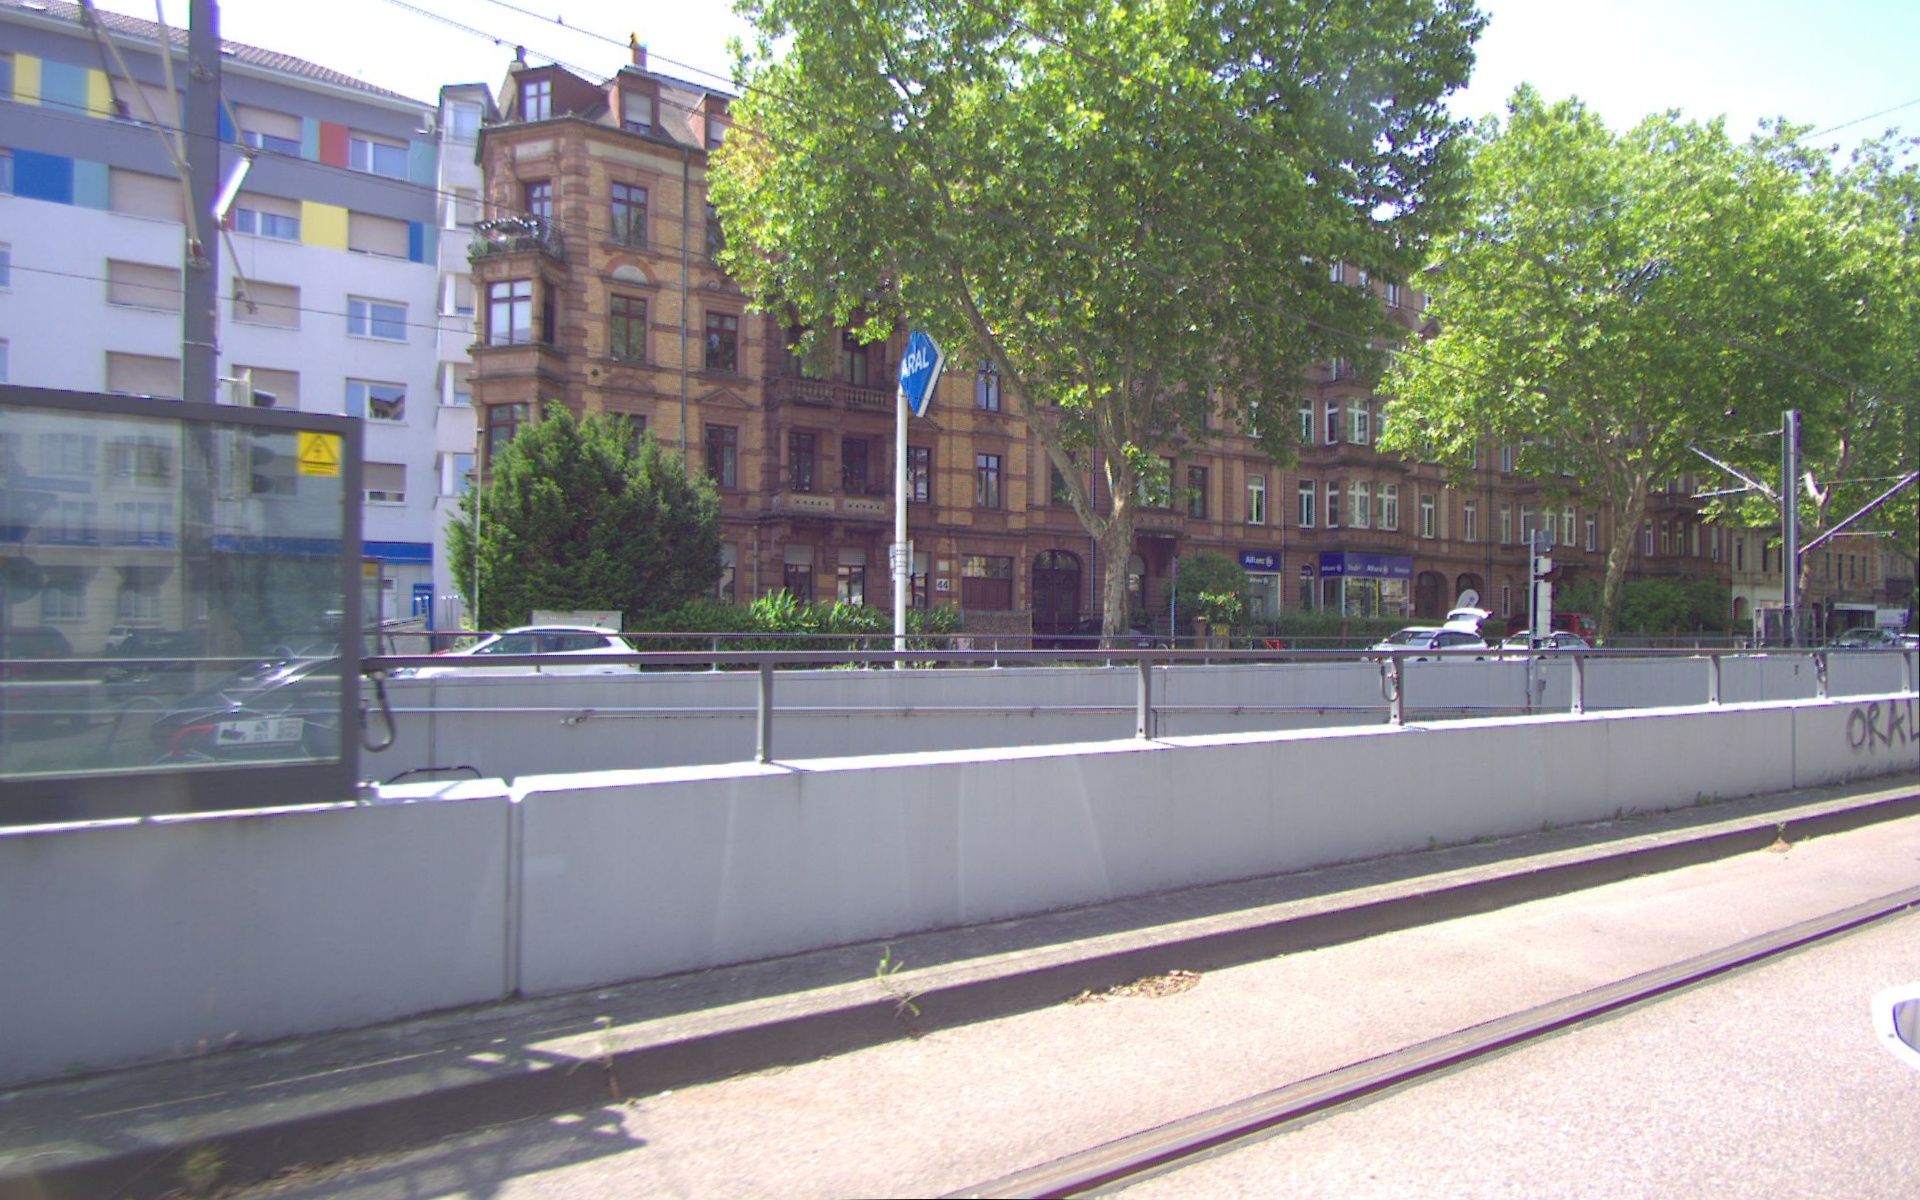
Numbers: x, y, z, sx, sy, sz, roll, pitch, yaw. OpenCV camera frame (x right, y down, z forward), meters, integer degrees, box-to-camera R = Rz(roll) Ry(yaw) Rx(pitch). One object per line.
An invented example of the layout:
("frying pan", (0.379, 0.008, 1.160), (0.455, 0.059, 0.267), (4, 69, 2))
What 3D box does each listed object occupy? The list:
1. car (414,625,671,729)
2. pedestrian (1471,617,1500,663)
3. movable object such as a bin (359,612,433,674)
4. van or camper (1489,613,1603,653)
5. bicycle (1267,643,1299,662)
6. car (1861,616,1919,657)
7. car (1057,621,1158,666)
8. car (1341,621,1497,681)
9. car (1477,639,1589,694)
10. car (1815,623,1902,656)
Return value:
("car", (-6.970, 1.234, 16.985), (3.825, 1.582, 1.540), (1, -1, -25))
("pedestrian", (16.549, 1.248, 31.641), (0.717, 1.445, 0.515), (0, 0, 20))
("movable object such as a bin", (-13.471, 1.005, 23.976), (1.453, 1.403, 1.773), (1, -1, -32))
("van or camper", (28.266, 1.565, 48.625), (1.905, 1.861, 4.532), (1, -1, -24))
("bicycle", (11.658, 1.878, 36.244), (1.329, 0.659, 0.278), (1, -1, -32))
("car", (45.737, 1.749, 48.670), (4.101, 1.929, 1.983), (1, -1, -31))
("car", (5.075, 1.481, 34.911), (1.635, 1.444, 3.461), (1, -2, -33))
("car", (13.754, 1.494, 30.057), (4.664, 1.646, 1.983), (1, -1, -31))
("car", (18.884, 2.146, 33.090), (3.665, 1.707, 1.645), (1, -1, -31))
("car", (41.391, 1.784, 46.249), (4.149, 1.419, 1.843), (1, -1, -31))
